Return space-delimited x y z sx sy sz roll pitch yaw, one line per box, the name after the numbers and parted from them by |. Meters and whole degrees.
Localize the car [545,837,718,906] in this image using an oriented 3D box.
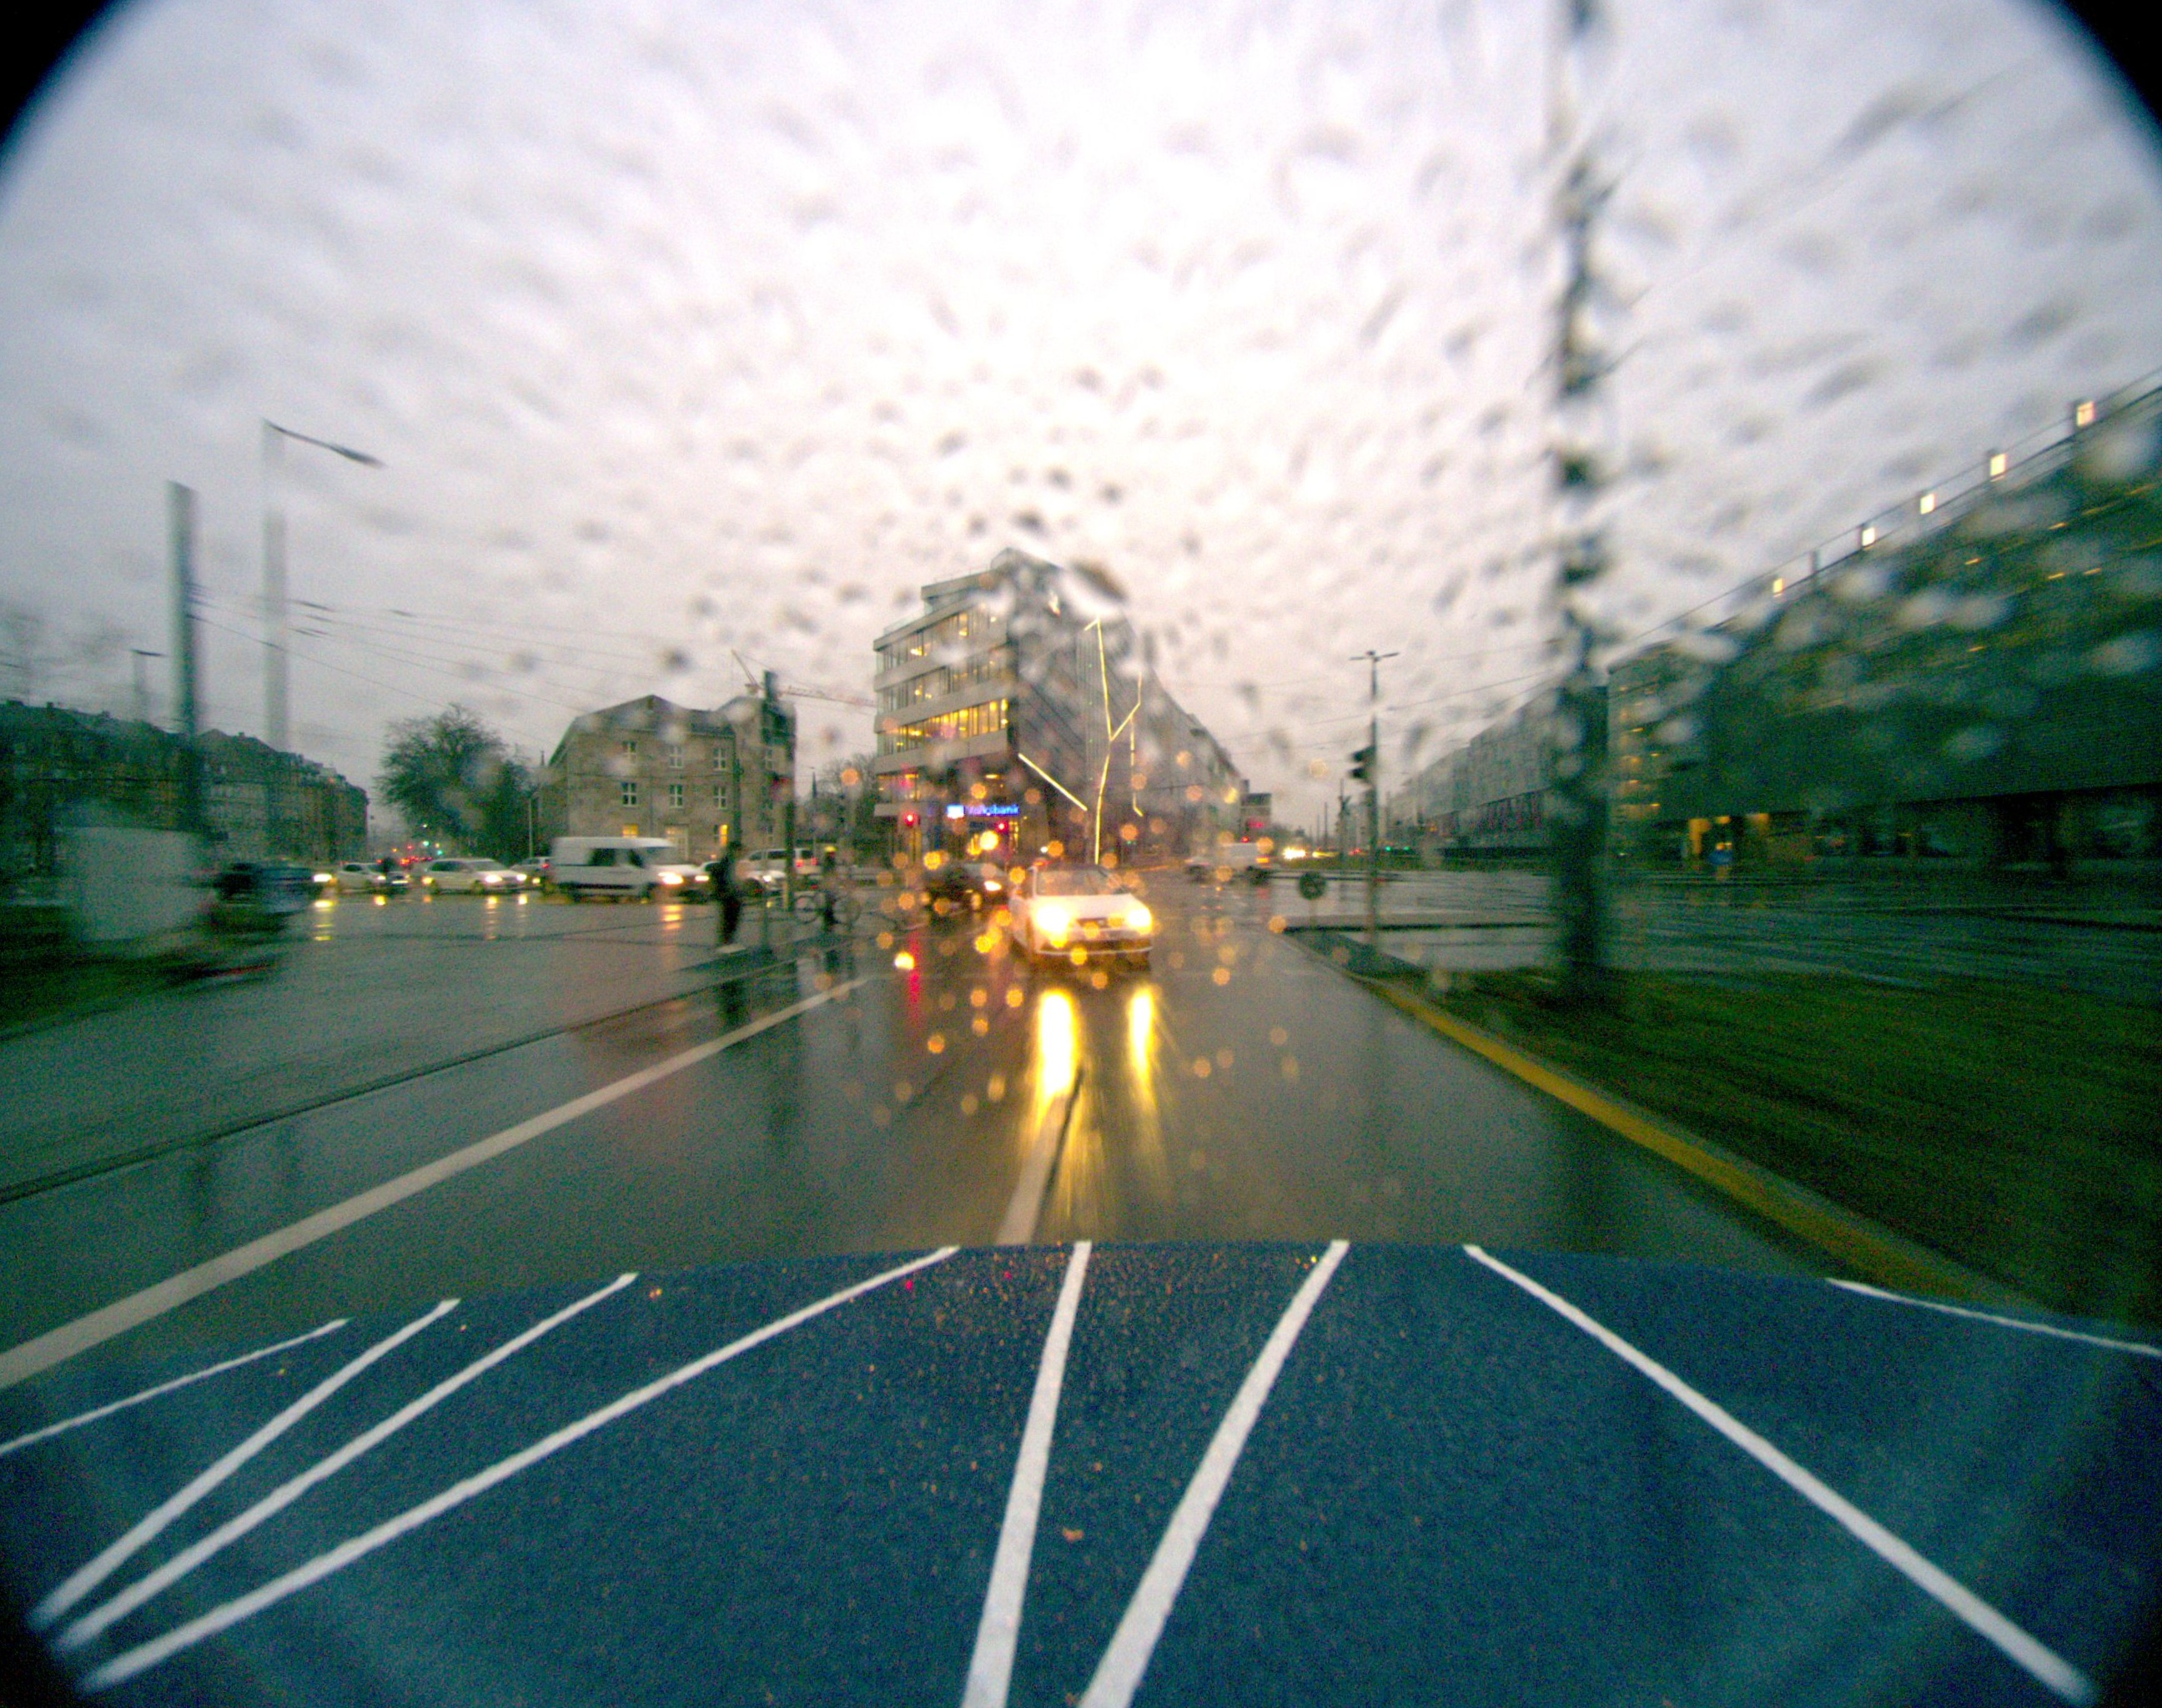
-17.025 0.603 28.882 5.659 2.449 2.245 0 2 14 | car

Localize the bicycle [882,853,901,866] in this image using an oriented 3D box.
-15.979 0.474 64.160 1.500 1.121 0.527 -1 1 -36 | bicycle

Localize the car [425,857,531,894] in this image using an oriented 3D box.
-27.864 0.972 35.130 4.214 1.590 1.678 0 1 16 | car

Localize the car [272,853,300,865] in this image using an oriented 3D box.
-95.581 0.609 91.390 1.756 1.362 3.604 -1 1 -37 | car

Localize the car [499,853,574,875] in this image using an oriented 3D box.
-38.298 0.718 53.458 4.333 1.477 1.868 0 1 14 | car

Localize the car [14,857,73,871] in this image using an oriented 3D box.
-99.370 0.954 72.778 1.378 1.276 3.193 0 1 31 | car

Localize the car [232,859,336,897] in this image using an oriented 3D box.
-35.534 1.016 33.877 3.996 1.590 1.906 0 1 23 | car

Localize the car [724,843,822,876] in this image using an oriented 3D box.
-19.324 0.345 47.733 5.650 2.047 1.955 0 1 15 | car

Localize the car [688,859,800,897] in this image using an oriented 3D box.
-13.948 0.965 31.522 3.910 1.455 1.765 0 2 12 | car

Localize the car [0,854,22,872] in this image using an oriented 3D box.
-95.696 0.780 66.612 1.442 1.615 3.193 0 1 30 | car

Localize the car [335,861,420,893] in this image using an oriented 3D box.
-34.274 1.091 37.019 3.338 1.422 1.693 0 2 21 | car

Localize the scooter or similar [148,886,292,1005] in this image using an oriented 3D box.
-9.872 1.010 8.770 0.334 1.199 1.308 -1 1 -10 | scooter or similar

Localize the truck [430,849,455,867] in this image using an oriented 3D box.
-74.170 0.448 88.289 1.842 2.032 3.989 -1 1 -36 | truck

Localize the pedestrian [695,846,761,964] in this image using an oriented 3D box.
-5.806 0.804 12.491 0.633 1.867 0.777 1 1 43 | pedestrian

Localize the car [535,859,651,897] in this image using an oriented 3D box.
-21.380 1.028 33.342 4.353 1.561 1.829 0 1 16 | car

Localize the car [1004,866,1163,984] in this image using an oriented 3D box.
-0.157 0.972 12.279 1.789 1.371 4.218 -2 1 -10 | car

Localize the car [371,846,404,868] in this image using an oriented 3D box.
-63.907 0.251 69.990 4.948 1.861 1.909 1 2 44 | car

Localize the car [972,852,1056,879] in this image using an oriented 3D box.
-3.791 0.630 43.049 4.413 1.436 1.631 0 1 19 | car

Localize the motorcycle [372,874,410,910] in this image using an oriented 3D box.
-24.613 1.342 27.089 2.402 1.176 0.485 0 1 36 | motorcycle

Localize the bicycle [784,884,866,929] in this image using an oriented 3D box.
-6.020 1.211 17.866 1.862 0.968 0.658 0 1 23 | bicycle

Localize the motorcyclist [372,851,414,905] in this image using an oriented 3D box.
-24.487 0.832 27.053 0.919 1.871 0.888 0 1 35 | motorcyclist

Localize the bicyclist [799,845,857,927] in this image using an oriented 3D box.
-5.948 0.734 17.884 0.987 1.879 0.794 0 1 23 | bicyclist

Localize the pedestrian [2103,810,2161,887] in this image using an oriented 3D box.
40.577 -0.226 29.202 1.111 2.909 0.967 1 3 17 | pedestrian

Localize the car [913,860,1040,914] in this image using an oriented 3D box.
-3.198 0.934 22.932 3.810 1.380 1.728 1 2 41 | car

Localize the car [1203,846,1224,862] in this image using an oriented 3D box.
14.527 -0.044 82.966 1.830 1.652 4.005 0 1 17 | car

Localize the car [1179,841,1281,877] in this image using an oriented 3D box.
7.418 0.242 38.036 4.597 1.709 1.933 0 1 33 | car
